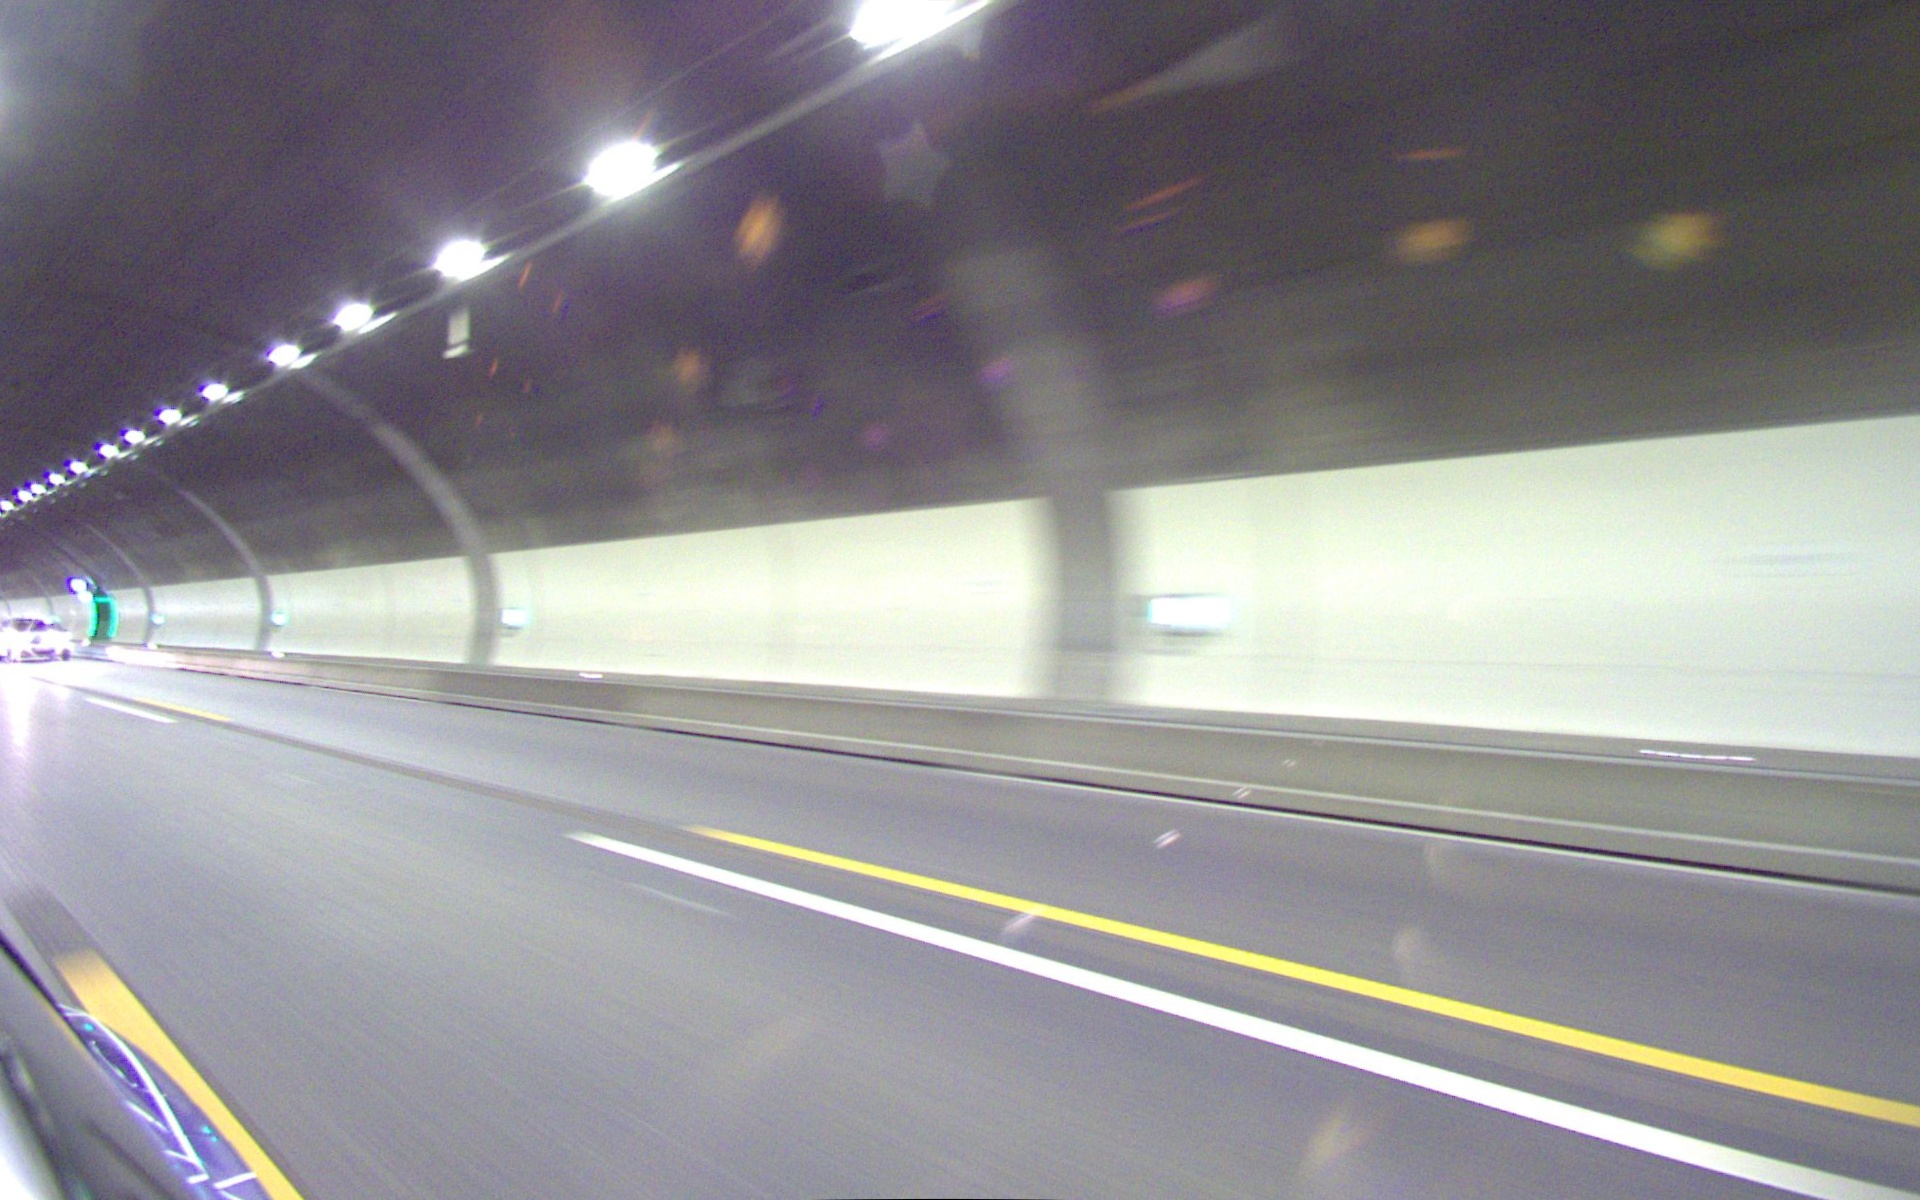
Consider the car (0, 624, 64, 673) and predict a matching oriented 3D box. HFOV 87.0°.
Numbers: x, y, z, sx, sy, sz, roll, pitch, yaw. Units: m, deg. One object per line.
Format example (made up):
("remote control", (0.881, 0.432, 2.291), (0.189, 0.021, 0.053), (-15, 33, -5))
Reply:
("car", (-32.806, 1.637, 35.297), (4.094, 1.584, 1.744), (-1, -1, 40))
